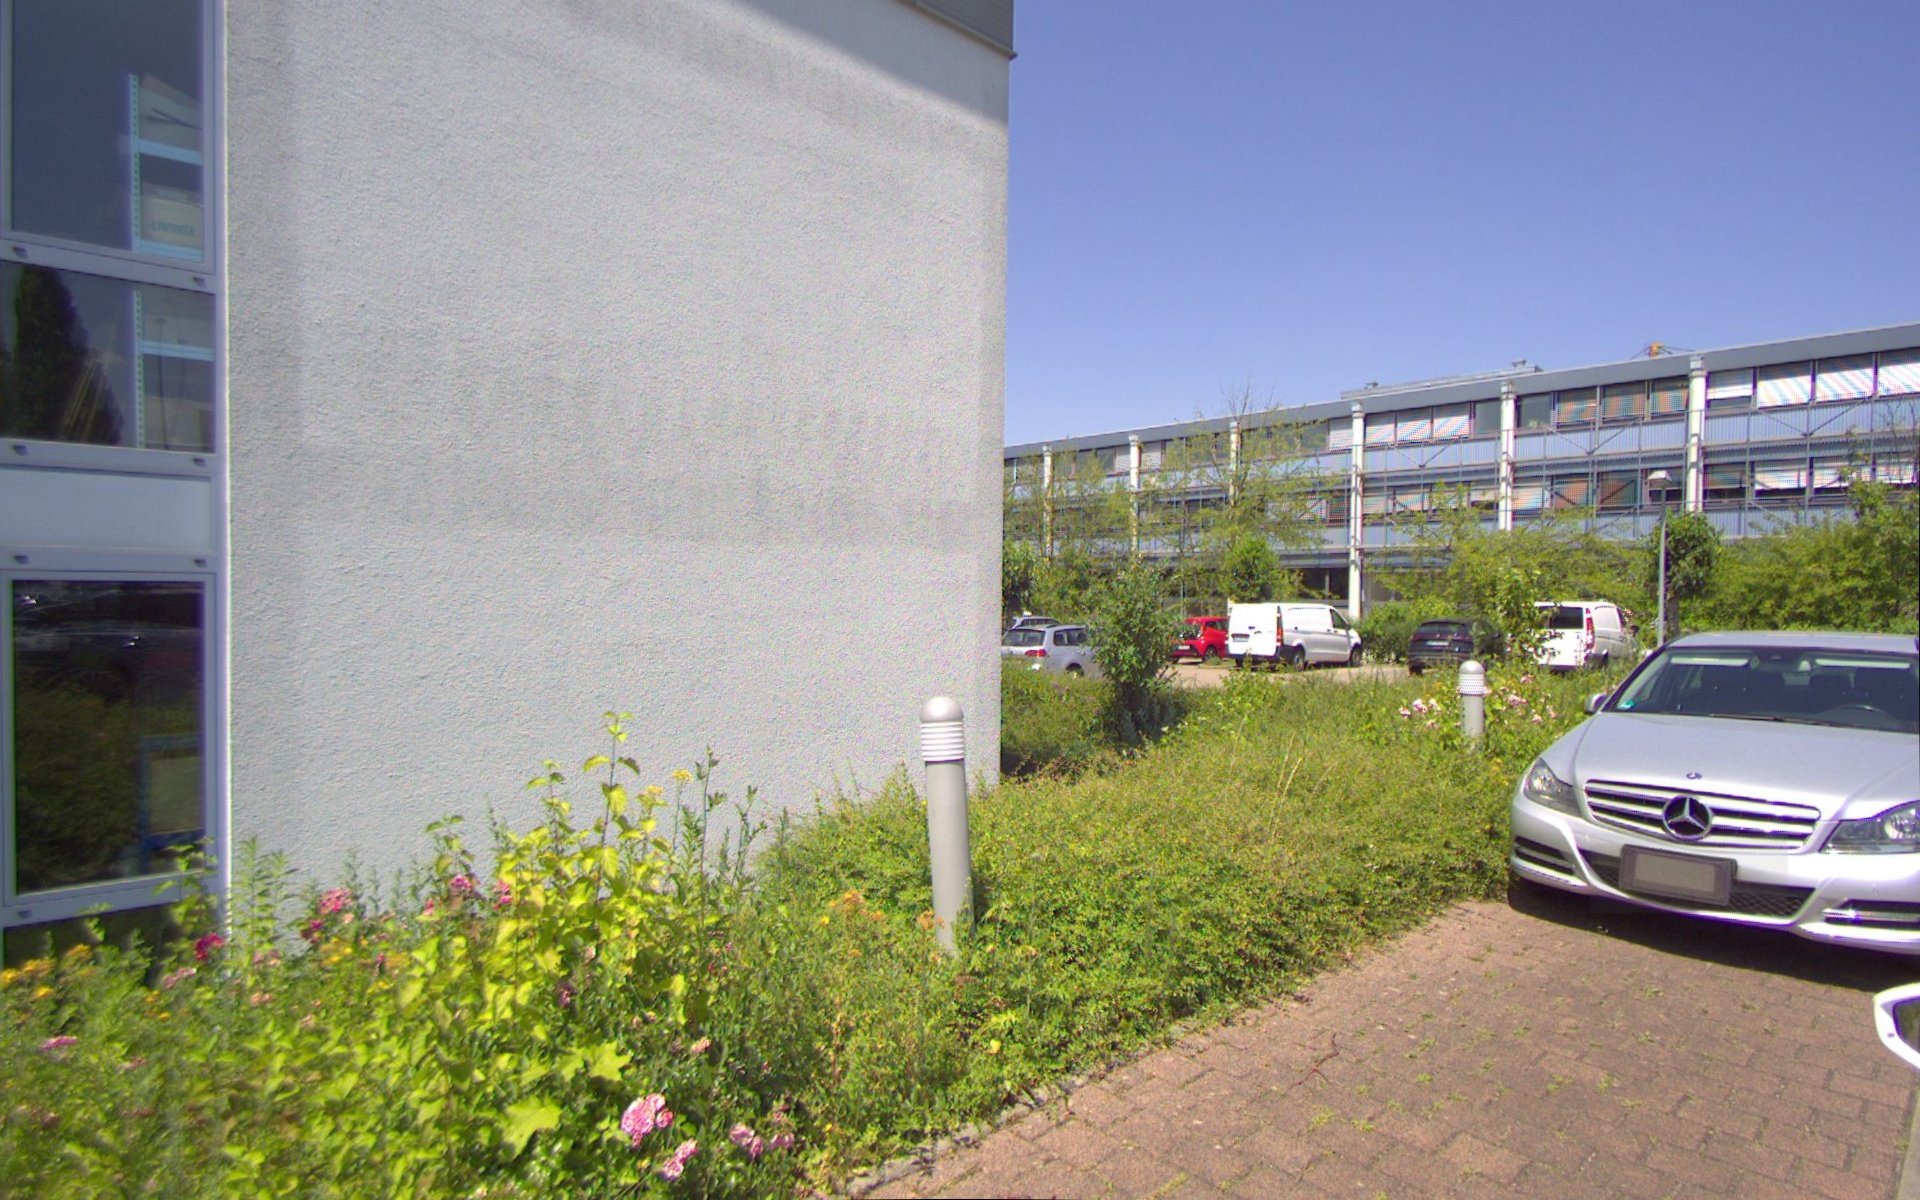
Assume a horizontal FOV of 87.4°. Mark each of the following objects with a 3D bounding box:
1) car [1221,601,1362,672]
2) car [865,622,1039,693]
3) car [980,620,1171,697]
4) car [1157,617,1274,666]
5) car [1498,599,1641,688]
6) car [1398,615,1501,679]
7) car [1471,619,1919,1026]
[{"bbox_3d":[9.707,0.982,29.219,4.768,1.916,1.864,0,0,-43],"label":"car"},{"bbox_3d":[-0.152,1.335,24.640,3.968,1.481,1.976,-1,0,-41],"label":"car"},{"bbox_3d":[2.637,1.199,22.156,4.454,1.492,1.839,1,0,-45],"label":"car"},{"bbox_3d":[8.249,1.285,32.270,3.969,1.460,1.766,1,-1,-42],"label":"car"},{"bbox_3d":[14.683,0.949,24.076,1.893,1.930,4.777,-1,0,45],"label":"car"},{"bbox_3d":[12.875,1.163,26.297,1.732,1.496,3.985,-1,0,37],"label":"car"},{"bbox_3d":[4.579,0.859,5.586,4.115,1.476,1.714,1,-1,-41],"label":"car"}]
